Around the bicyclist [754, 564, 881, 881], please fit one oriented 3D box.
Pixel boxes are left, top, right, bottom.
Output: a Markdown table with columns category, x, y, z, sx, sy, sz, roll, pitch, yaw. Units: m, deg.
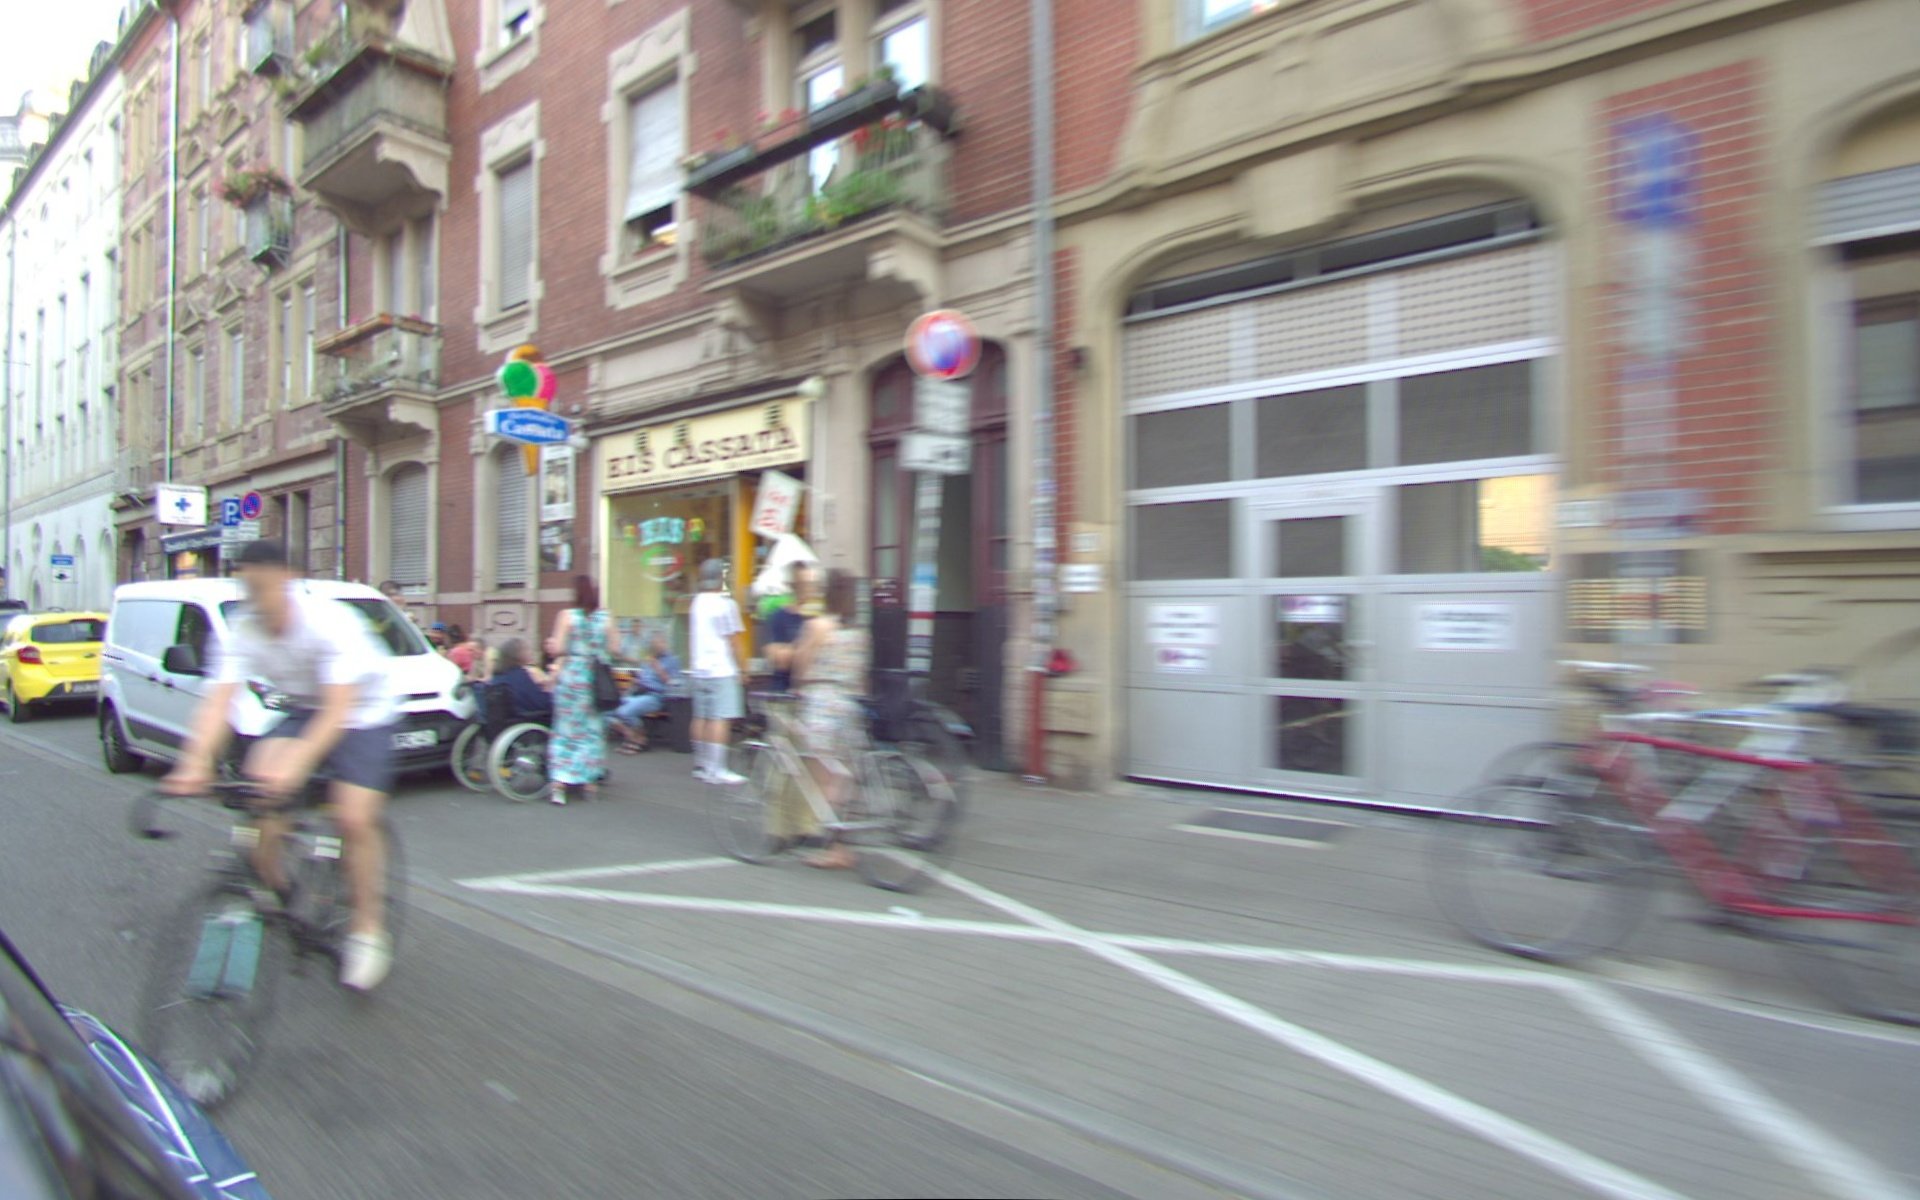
| category | x | y | z | sx | sy | sz | roll | pitch | yaw |
| --- | --- | --- | --- | --- | --- | --- | --- | --- | --- |
| bicyclist | -0.768 | 0.619 | 5.450 | 0.487 | 1.602 | 0.461 | -1 | 0 | 42 |

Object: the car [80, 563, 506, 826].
| category | x | y | z | sx | sy | sz | roll | pitch | yaw |
| --- | --- | --- | --- | --- | --- | --- | --- | --- | --- |
| car | -6.091 | 0.657 | 9.021 | 4.579 | 1.802 | 1.754 | 0 | 0 | 37 |

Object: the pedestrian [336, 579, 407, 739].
| category | x | y | z | sx | sy | sz | roll | pitch | yaw |
| --- | --- | --- | --- | --- | --- | --- | --- | --- | --- |
| pedestrian | -6.657 | 0.644 | 11.475 | 0.610 | 1.743 | 0.587 | -1 | 0 | -23 |

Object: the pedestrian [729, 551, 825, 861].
| category | x | y | z | sx | sy | sz | roll | pitch | yaw |
| --- | --- | --- | --- | --- | --- | --- | --- | --- | --- |
| pedestrian | -1.063 | 0.589 | 5.899 | 0.349 | 1.722 | 0.414 | -1 | 0 | 33 |

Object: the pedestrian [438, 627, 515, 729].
| category | x | y | z | sx | sy | sz | roll | pitch | yaw |
| --- | --- | --- | --- | --- | --- | --- | --- | --- | --- |
| pedestrian | -5.757 | 0.912 | 12.061 | 0.572 | 1.148 | 0.626 | -1 | 0 | 37 |

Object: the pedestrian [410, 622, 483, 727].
| category | x | y | z | sx | sy | sz | roll | pitch | yaw |
| --- | --- | --- | --- | --- | --- | --- | --- | --- | --- |
| pedestrian | -6.435 | 0.911 | 12.694 | 0.584 | 1.261 | 0.613 | -1 | 0 | 37 |

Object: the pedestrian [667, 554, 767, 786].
| category | x | y | z | sx | sy | sz | roll | pitch | yaw |
| --- | --- | --- | --- | --- | --- | --- | --- | --- | --- |
| pedestrian | -2.033 | 0.547 | 8.437 | 0.590 | 1.827 | 0.722 | -1 | 0 | -33 |

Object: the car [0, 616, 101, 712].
| category | x | y | z | sx | sy | sz | roll | pitch | yaw |
| --- | --- | --- | --- | --- | --- | --- | --- | --- | --- |
| car | -17.408 | 1.116 | 18.560 | 3.966 | 1.608 | 1.908 | -1 | -1 | 40 |

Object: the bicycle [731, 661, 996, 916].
| category | x | y | z | sx | sy | sz | roll | pitch | yaw |
| --- | --- | --- | --- | --- | --- | --- | --- | --- | --- |
| bicycle | -0.547 | 0.894 | 5.258 | 1.520 | 1.076 | 0.461 | 0 | 0 | 42 |

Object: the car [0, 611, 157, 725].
| category | x | y | z | sx | sy | sz | roll | pitch | yaw |
| --- | --- | --- | --- | --- | --- | --- | --- | --- | --- |
| car | -13.855 | 0.953 | 15.539 | 3.790 | 1.541 | 1.688 | -1 | -1 | 40 |

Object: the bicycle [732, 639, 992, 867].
| category | x | y | z | sx | sy | sz | roll | pitch | yaw |
| --- | --- | --- | --- | --- | --- | --- | --- | --- | --- |
| bicycle | -0.683 | 0.859 | 6.330 | 0.460 | 1.164 | 2.002 | -1 | 0 | -44 |

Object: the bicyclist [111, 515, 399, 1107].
| category | x | y | z | sx | sy | sz | roll | pitch | yaw |
| --- | --- | --- | --- | --- | --- | --- | --- | --- | --- |
| bicyclist | -2.290 | 0.609 | 3.378 | 0.520 | 1.716 | 0.791 | -1 | 0 | -13 |

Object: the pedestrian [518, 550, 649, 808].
| category | x | y | z | sx | sy | sz | roll | pitch | yaw |
| --- | --- | --- | --- | --- | --- | --- | --- | --- | --- |
| pedestrian | -2.832 | 0.559 | 7.623 | 0.718 | 1.827 | 0.594 | -1 | 0 | 30 |

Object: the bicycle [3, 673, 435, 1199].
| category | x | y | z | sx | sy | sz | roll | pitch | yaw |
| --- | --- | --- | --- | --- | --- | --- | --- | --- | --- |
| bicycle | -2.292 | 0.899 | 3.400 | 0.512 | 1.164 | 1.788 | -1 | 0 | -13 |

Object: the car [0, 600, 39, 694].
| category | x | y | z | sx | sy | sz | roll | pitch | yaw |
| --- | --- | --- | --- | --- | --- | --- | --- | --- | --- |
| car | -21.602 | 0.986 | 21.722 | 4.898 | 1.897 | 1.909 | -1 | -1 | 38 |

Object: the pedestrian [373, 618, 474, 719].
| category | x | y | z | sx | sy | sz | roll | pitch | yaw |
| --- | --- | --- | --- | --- | --- | --- | --- | --- | --- |
| pedestrian | -6.894 | 0.855 | 13.027 | 0.502 | 1.212 | 1.029 | -1 | 0 | 36 |

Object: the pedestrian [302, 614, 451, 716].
| category | x | y | z | sx | sy | sz | roll | pitch | yaw |
| --- | --- | --- | --- | --- | --- | --- | --- | --- | --- |
| pedestrian | -7.543 | 0.802 | 13.136 | 0.641 | 1.212 | 1.547 | -1 | 0 | 36 |

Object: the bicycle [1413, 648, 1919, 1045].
| category | x | y | z | sx | sy | sz | roll | pitch | yaw |
| --- | --- | --- | --- | --- | --- | --- | --- | --- | --- |
| bicycle | 2.657 | 0.788 | 3.633 | 1.836 | 1.168 | 0.407 | 0 | 0 | 40 |

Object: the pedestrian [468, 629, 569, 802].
| category | x | y | z | sx | sy | sz | roll | pitch | yaw |
| --- | --- | --- | --- | --- | --- | --- | --- | --- | --- |
| pedestrian | -3.459 | 0.873 | 7.927 | 0.652 | 1.260 | 0.473 | -1 | 0 | 39 |

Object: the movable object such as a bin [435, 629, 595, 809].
| category | x | y | z | sx | sy | sz | roll | pitch | yaw |
| --- | --- | --- | --- | --- | --- | --- | --- | --- | --- |
| movable object such as a bin | -3.463 | 0.873 | 7.890 | 0.775 | 1.260 | 0.879 | -1 | 0 | 39 |

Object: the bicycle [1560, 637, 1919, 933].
| category | x | y | z | sx | sy | sz | roll | pitch | yaw |
| --- | --- | --- | --- | --- | --- | --- | --- | --- | --- |
| bicycle | 3.765 | 0.772 | 4.509 | 1.836 | 1.168 | 0.407 | 0 | 0 | 40 |
